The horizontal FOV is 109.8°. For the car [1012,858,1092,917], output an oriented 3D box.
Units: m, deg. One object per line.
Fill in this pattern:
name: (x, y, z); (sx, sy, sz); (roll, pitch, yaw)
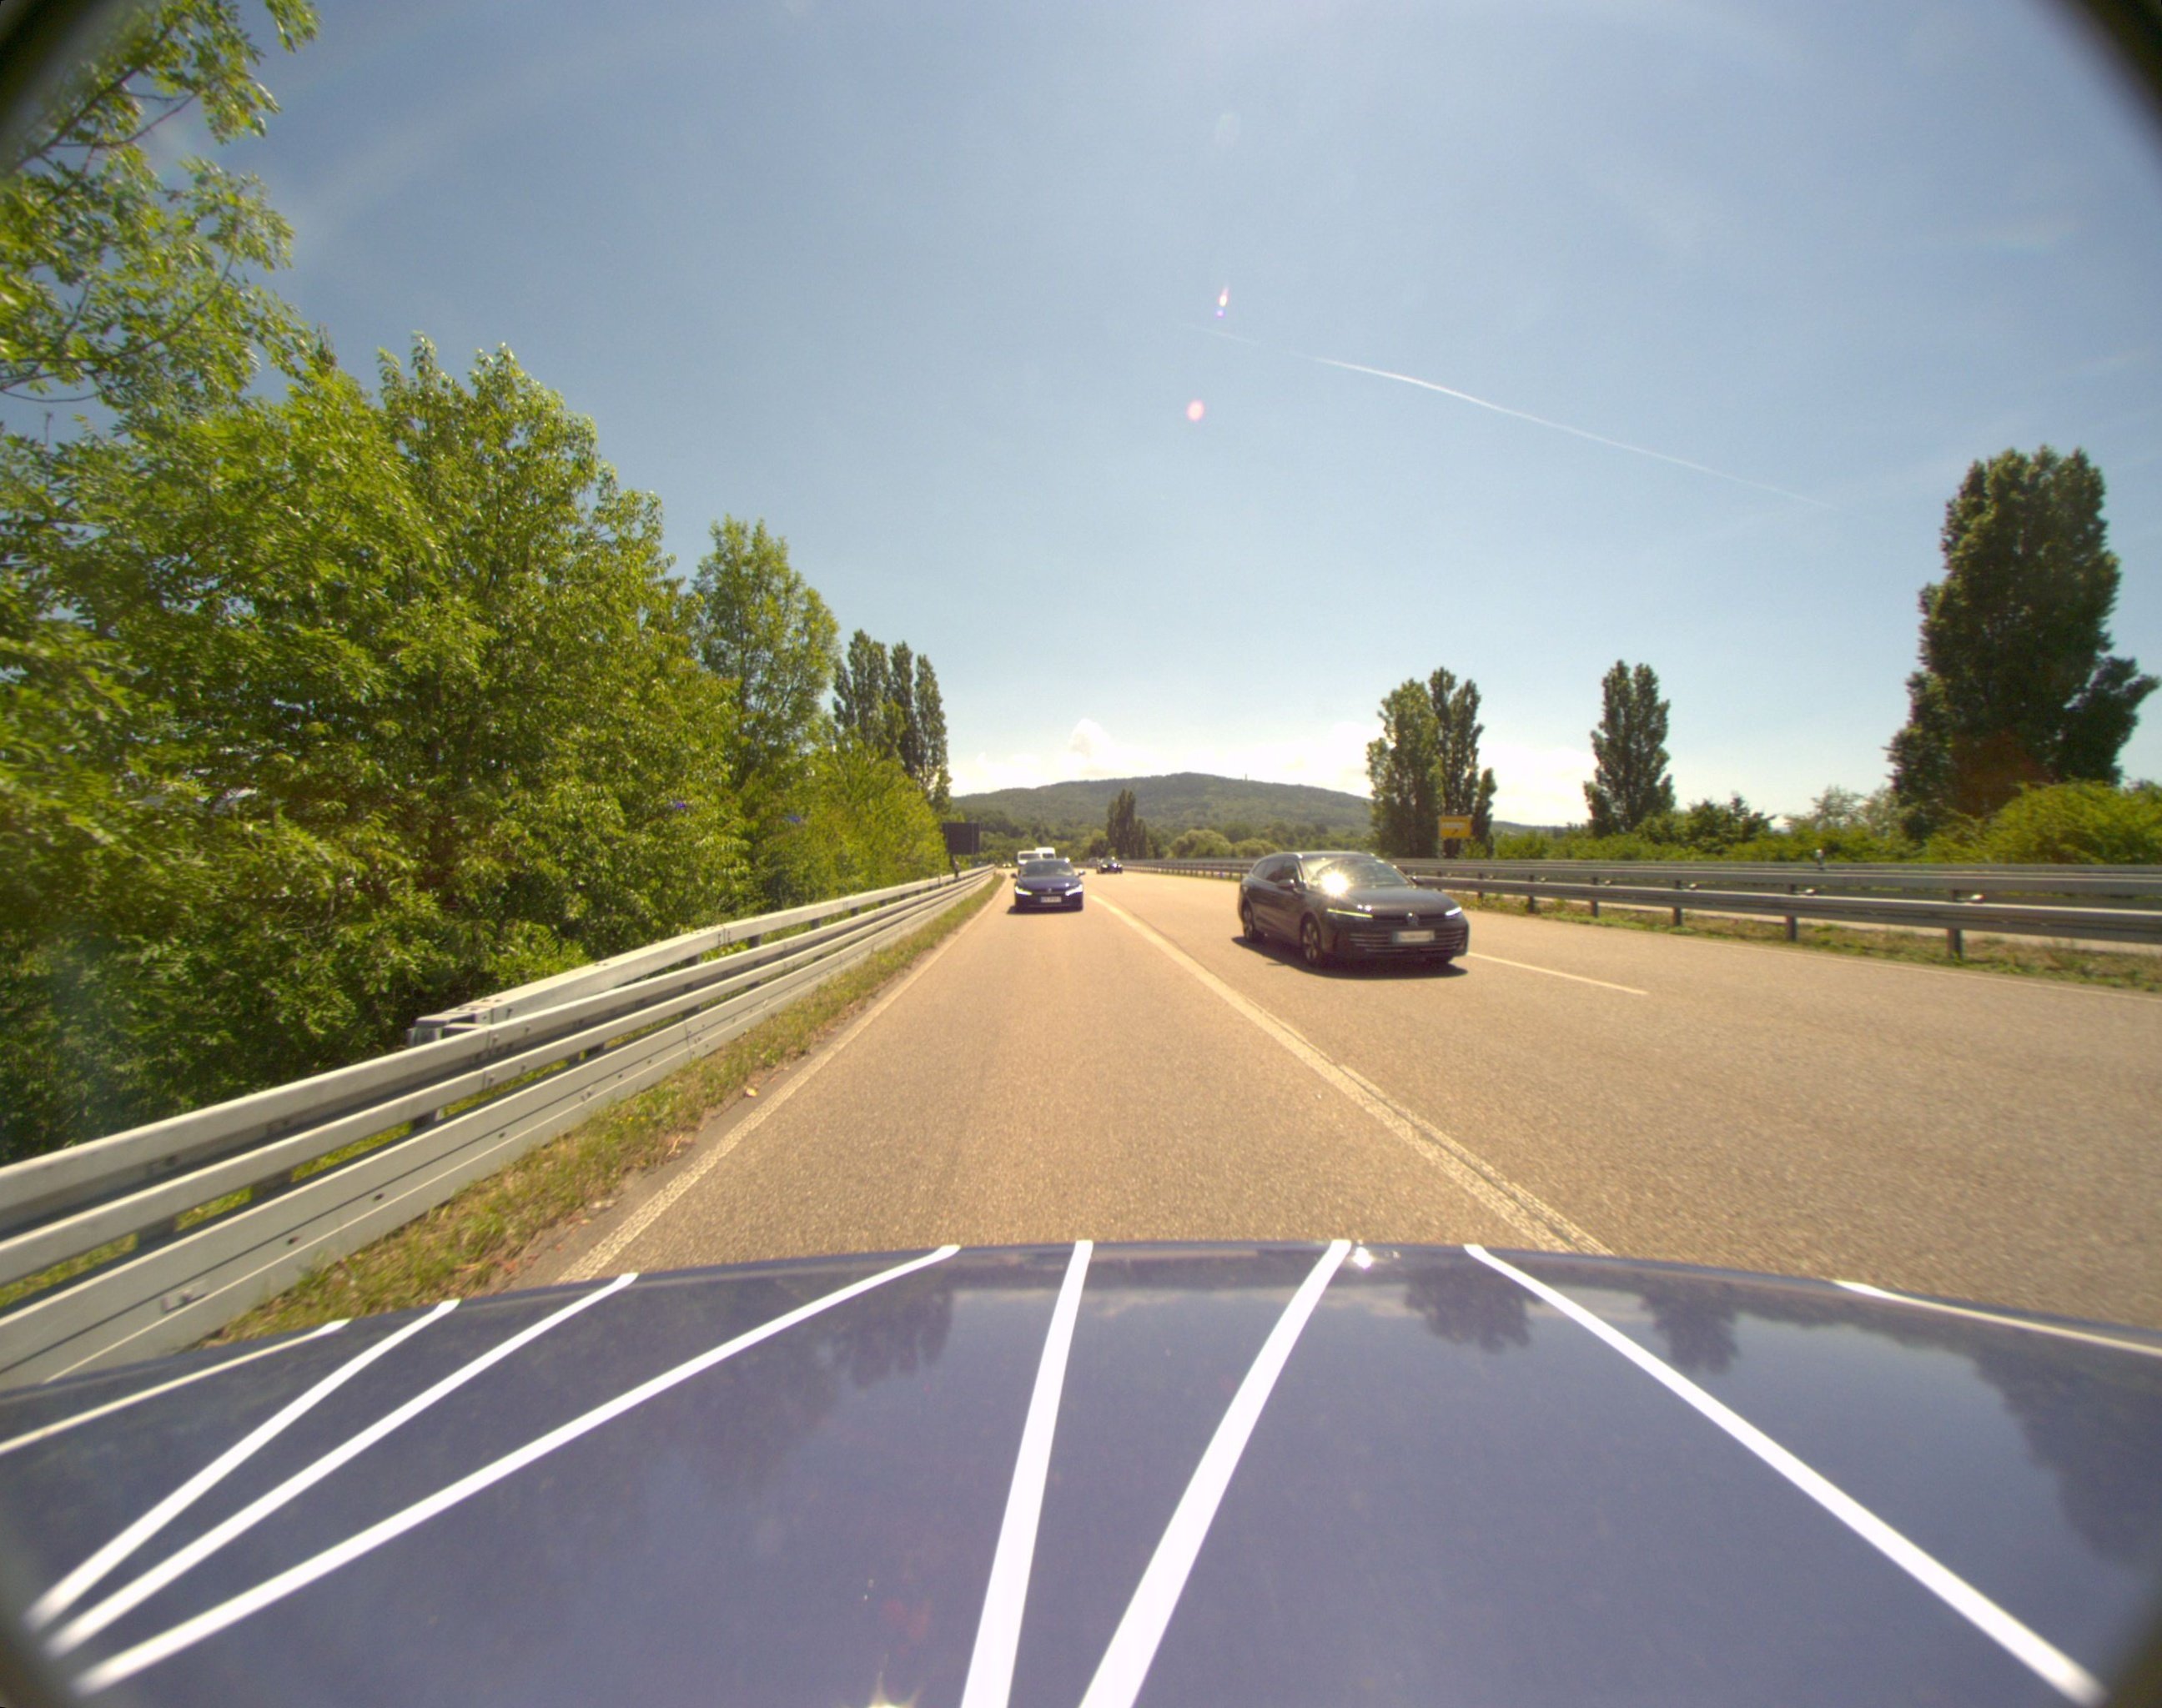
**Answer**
car: (-0.721, 0.879, 21.784); (1.842, 1.422, 4.534); (-1, 0, 3)

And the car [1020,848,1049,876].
car: (-3.482, 0.564, 57.347); (1.999, 1.939, 4.643); (-2, 0, -2)

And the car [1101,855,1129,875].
car: (2.894, 0.891, 65.932); (1.999, 1.564, 4.643); (-2, 0, -2)

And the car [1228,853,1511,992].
car: (3.686, 0.744, 10.894); (1.890, 1.472, 5.002); (-1, 0, -3)

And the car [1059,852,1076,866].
car: (-1.725, 0.661, 97.046); (1.831, 1.602, 3.998); (-3, 0, -5)

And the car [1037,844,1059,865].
car: (-3.240, 0.083, 74.849); (1.999, 1.939, 4.643); (-2, 0, -2)
